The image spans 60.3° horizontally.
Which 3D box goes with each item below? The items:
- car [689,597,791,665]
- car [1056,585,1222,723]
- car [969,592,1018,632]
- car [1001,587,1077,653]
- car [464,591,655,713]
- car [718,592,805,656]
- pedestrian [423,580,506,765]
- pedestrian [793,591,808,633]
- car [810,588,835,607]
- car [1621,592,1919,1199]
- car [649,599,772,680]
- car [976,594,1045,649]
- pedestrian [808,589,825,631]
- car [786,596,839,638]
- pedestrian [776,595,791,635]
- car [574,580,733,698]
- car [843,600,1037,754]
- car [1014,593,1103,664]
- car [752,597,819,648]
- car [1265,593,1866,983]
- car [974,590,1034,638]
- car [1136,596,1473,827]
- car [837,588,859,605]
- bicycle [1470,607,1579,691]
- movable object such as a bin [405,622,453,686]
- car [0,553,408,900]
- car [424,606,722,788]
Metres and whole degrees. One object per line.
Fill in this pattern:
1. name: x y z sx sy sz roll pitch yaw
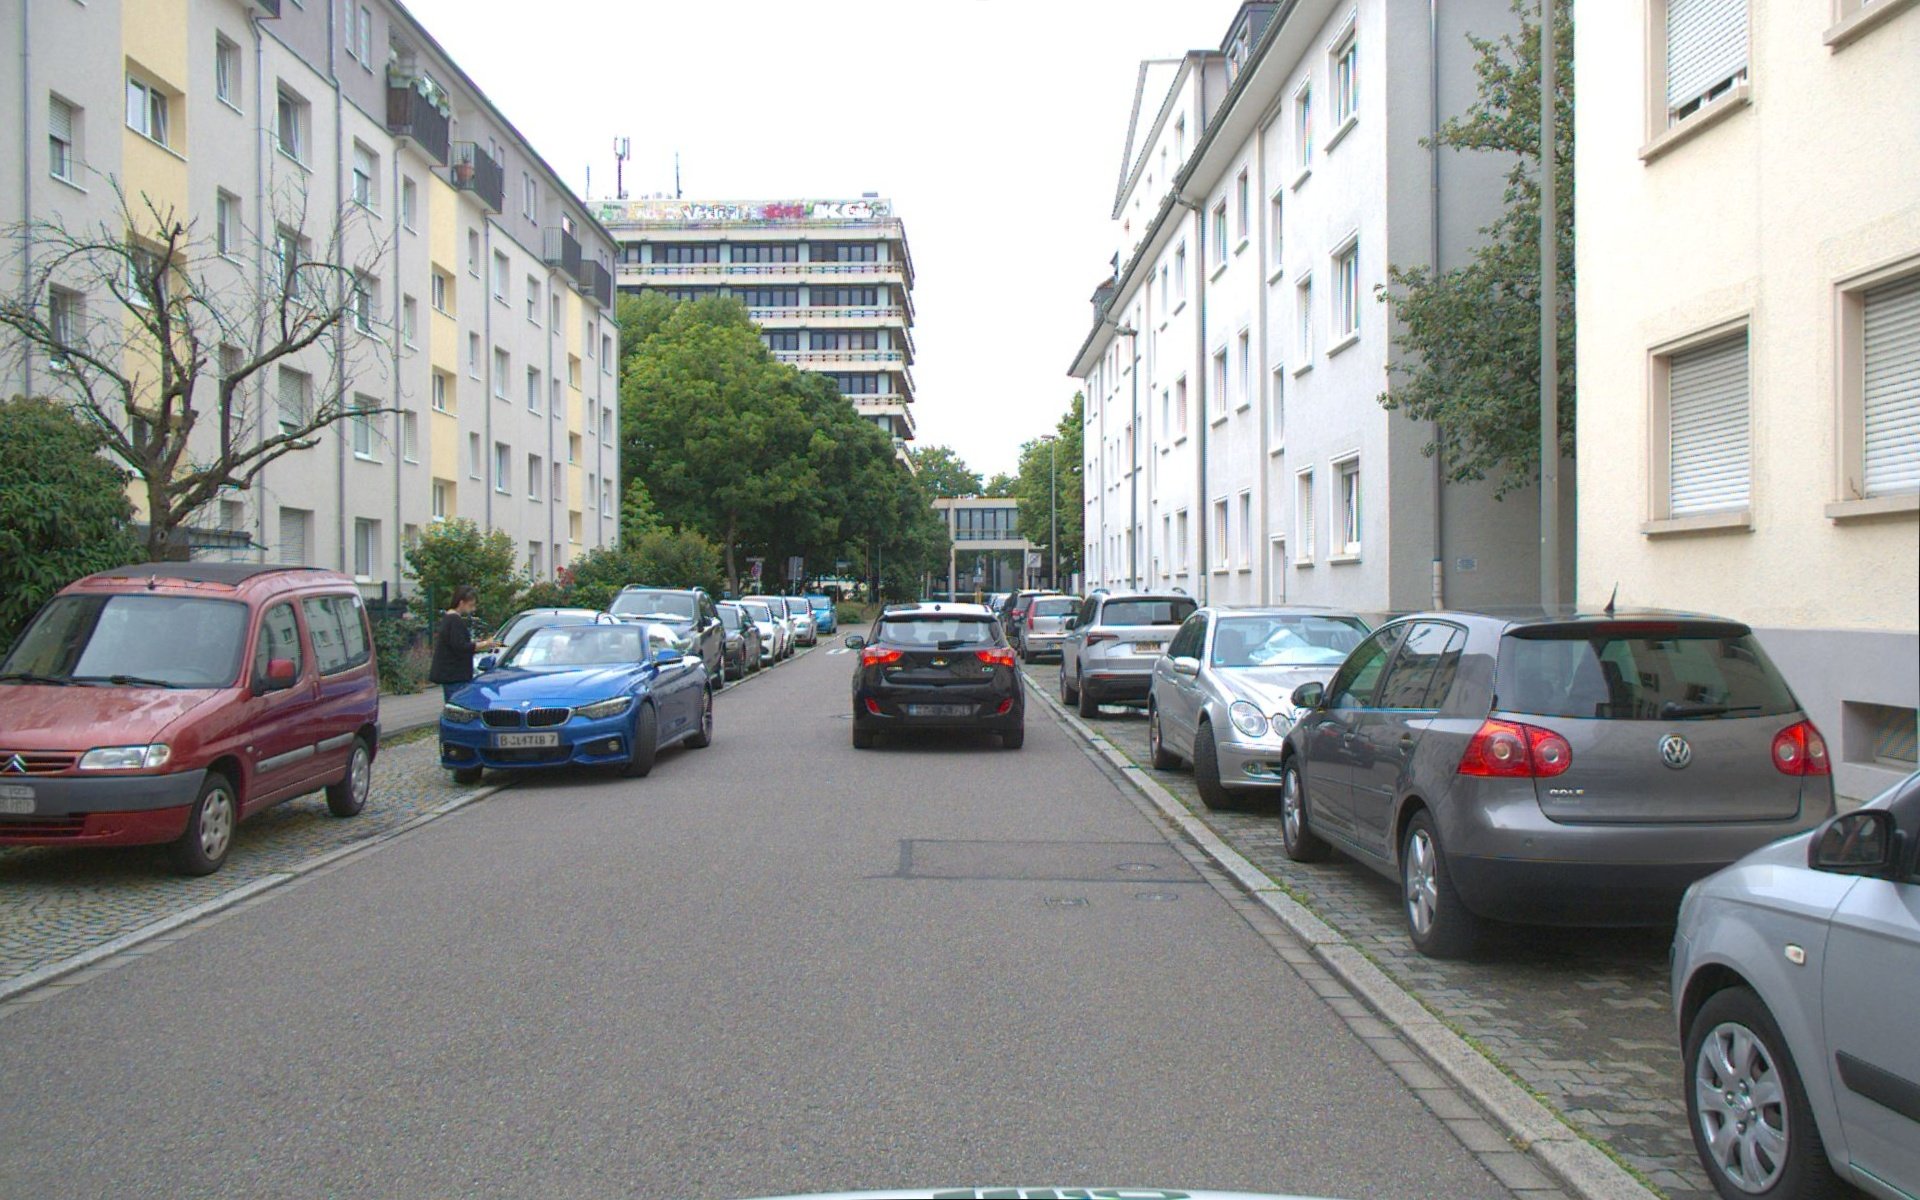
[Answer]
1. car: -5.182 0.696 39.487 1.856 1.477 4.520 2 0 -1
2. car: 2.306 0.648 22.219 1.783 1.671 4.091 0 0 0
3. car: 1.299 0.473 66.660 1.783 1.546 4.672 0 0 -1
4. car: 2.003 0.485 43.037 1.783 1.631 4.091 0 0 0
5. car: -5.321 0.639 22.421 1.709 1.490 3.785 -1 0 -1
6. car: -5.421 0.624 45.606 1.856 1.627 4.520 2 0 -1
7. pedestrian: -4.822 0.680 16.072 0.729 1.731 0.792 -1 0 -18
8. pedestrian: -7.114 0.521 73.949 0.592 1.863 0.675 0 0 1
9. car: -10.305 -0.196 124.365 1.632 1.356 3.395 0 1 -1
10. car: 2.875 0.723 2.845 1.812 1.475 3.831 0 0 -3
11. car: -5.061 0.759 34.124 1.856 1.477 4.665 2 0 -1
12. car: 1.452 0.588 49.215 1.783 1.546 4.672 0 0 -1
13. pedestrian: -6.413 0.437 73.820 0.699 1.863 0.797 0 0 1
14. car: -5.849 0.656 66.035 1.954 1.568 3.997 1 0 -3
15. pedestrian: -7.833 0.663 73.607 0.588 1.743 0.648 0 0 1
16. car: -5.078 0.607 27.972 1.856 1.770 4.474 2 0 -1
17. car: -0.198 0.747 18.141 1.864 1.458 4.232 -1 0 0
18. car: 2.229 0.609 38.290 1.783 1.529 4.091 -1 0 0
19. car: -5.640 0.714 53.911 1.954 1.568 3.997 1 0 -3
20. car: 2.707 0.723 8.342 1.570 1.502 3.868 0 0 -1
21. car: 1.440 0.442 55.428 1.783 1.546 4.672 0 0 -1
22. car: 2.508 0.727 13.128 1.690 1.502 4.504 0 0 -1
23. car: -9.292 -0.308 137.819 1.632 1.356 3.395 0 1 -1
24. bicycle: 7.389 0.637 21.676 1.266 1.081 0.497 0 0 1
25. movable object such as a bin: -8.465 0.854 26.372 0.540 0.971 0.635 -1 0 -1
26. car: -5.191 0.649 10.764 1.917 1.801 4.359 1 0 -3
27. car: -3.551 0.815 16.058 1.807 1.476 4.501 0 0 0
